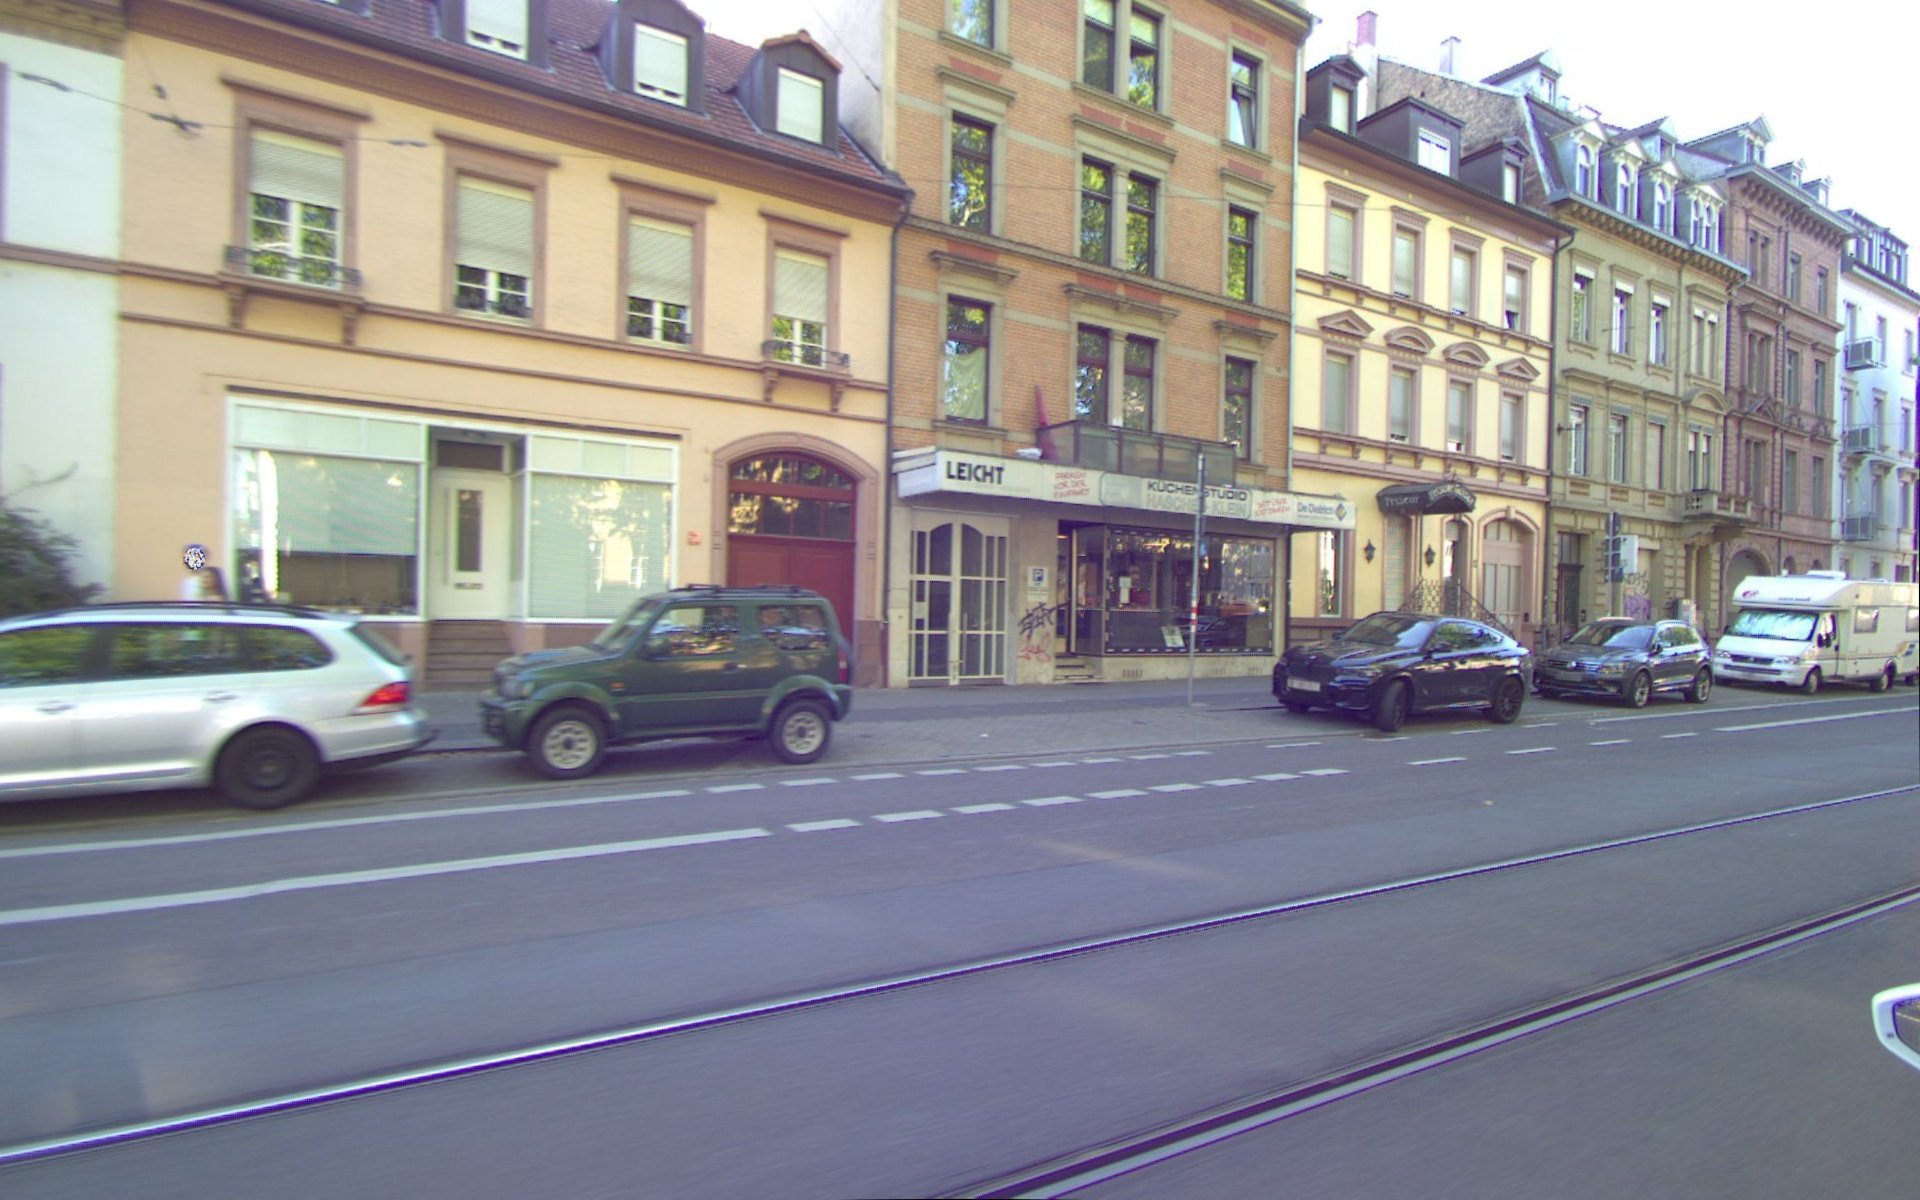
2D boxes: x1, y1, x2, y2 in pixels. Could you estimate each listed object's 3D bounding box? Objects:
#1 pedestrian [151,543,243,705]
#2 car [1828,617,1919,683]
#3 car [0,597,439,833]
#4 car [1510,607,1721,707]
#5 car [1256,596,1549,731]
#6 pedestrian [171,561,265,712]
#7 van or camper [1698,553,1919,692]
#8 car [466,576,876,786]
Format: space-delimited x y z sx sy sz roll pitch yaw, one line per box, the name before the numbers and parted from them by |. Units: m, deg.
pedestrian | -8.164 0.238 10.744 0.764 1.656 0.653 3 1 44
car | 26.805 1.413 28.975 3.743 1.749 1.632 1 1 -33
car | -6.520 0.775 7.648 4.400 1.523 1.817 1 1 -32
car | 13.448 1.107 20.548 4.422 1.805 1.953 1 1 -33
car | 7.252 0.938 16.299 4.885 1.805 1.952 1 2 -33
pedestrian | -7.613 0.356 10.306 0.628 1.480 0.653 3 1 43
van or camper | 21.949 0.578 25.717 7.028 3.182 2.206 1 1 -30
car | -2.833 0.701 10.056 3.645 1.755 1.547 1 1 -32
